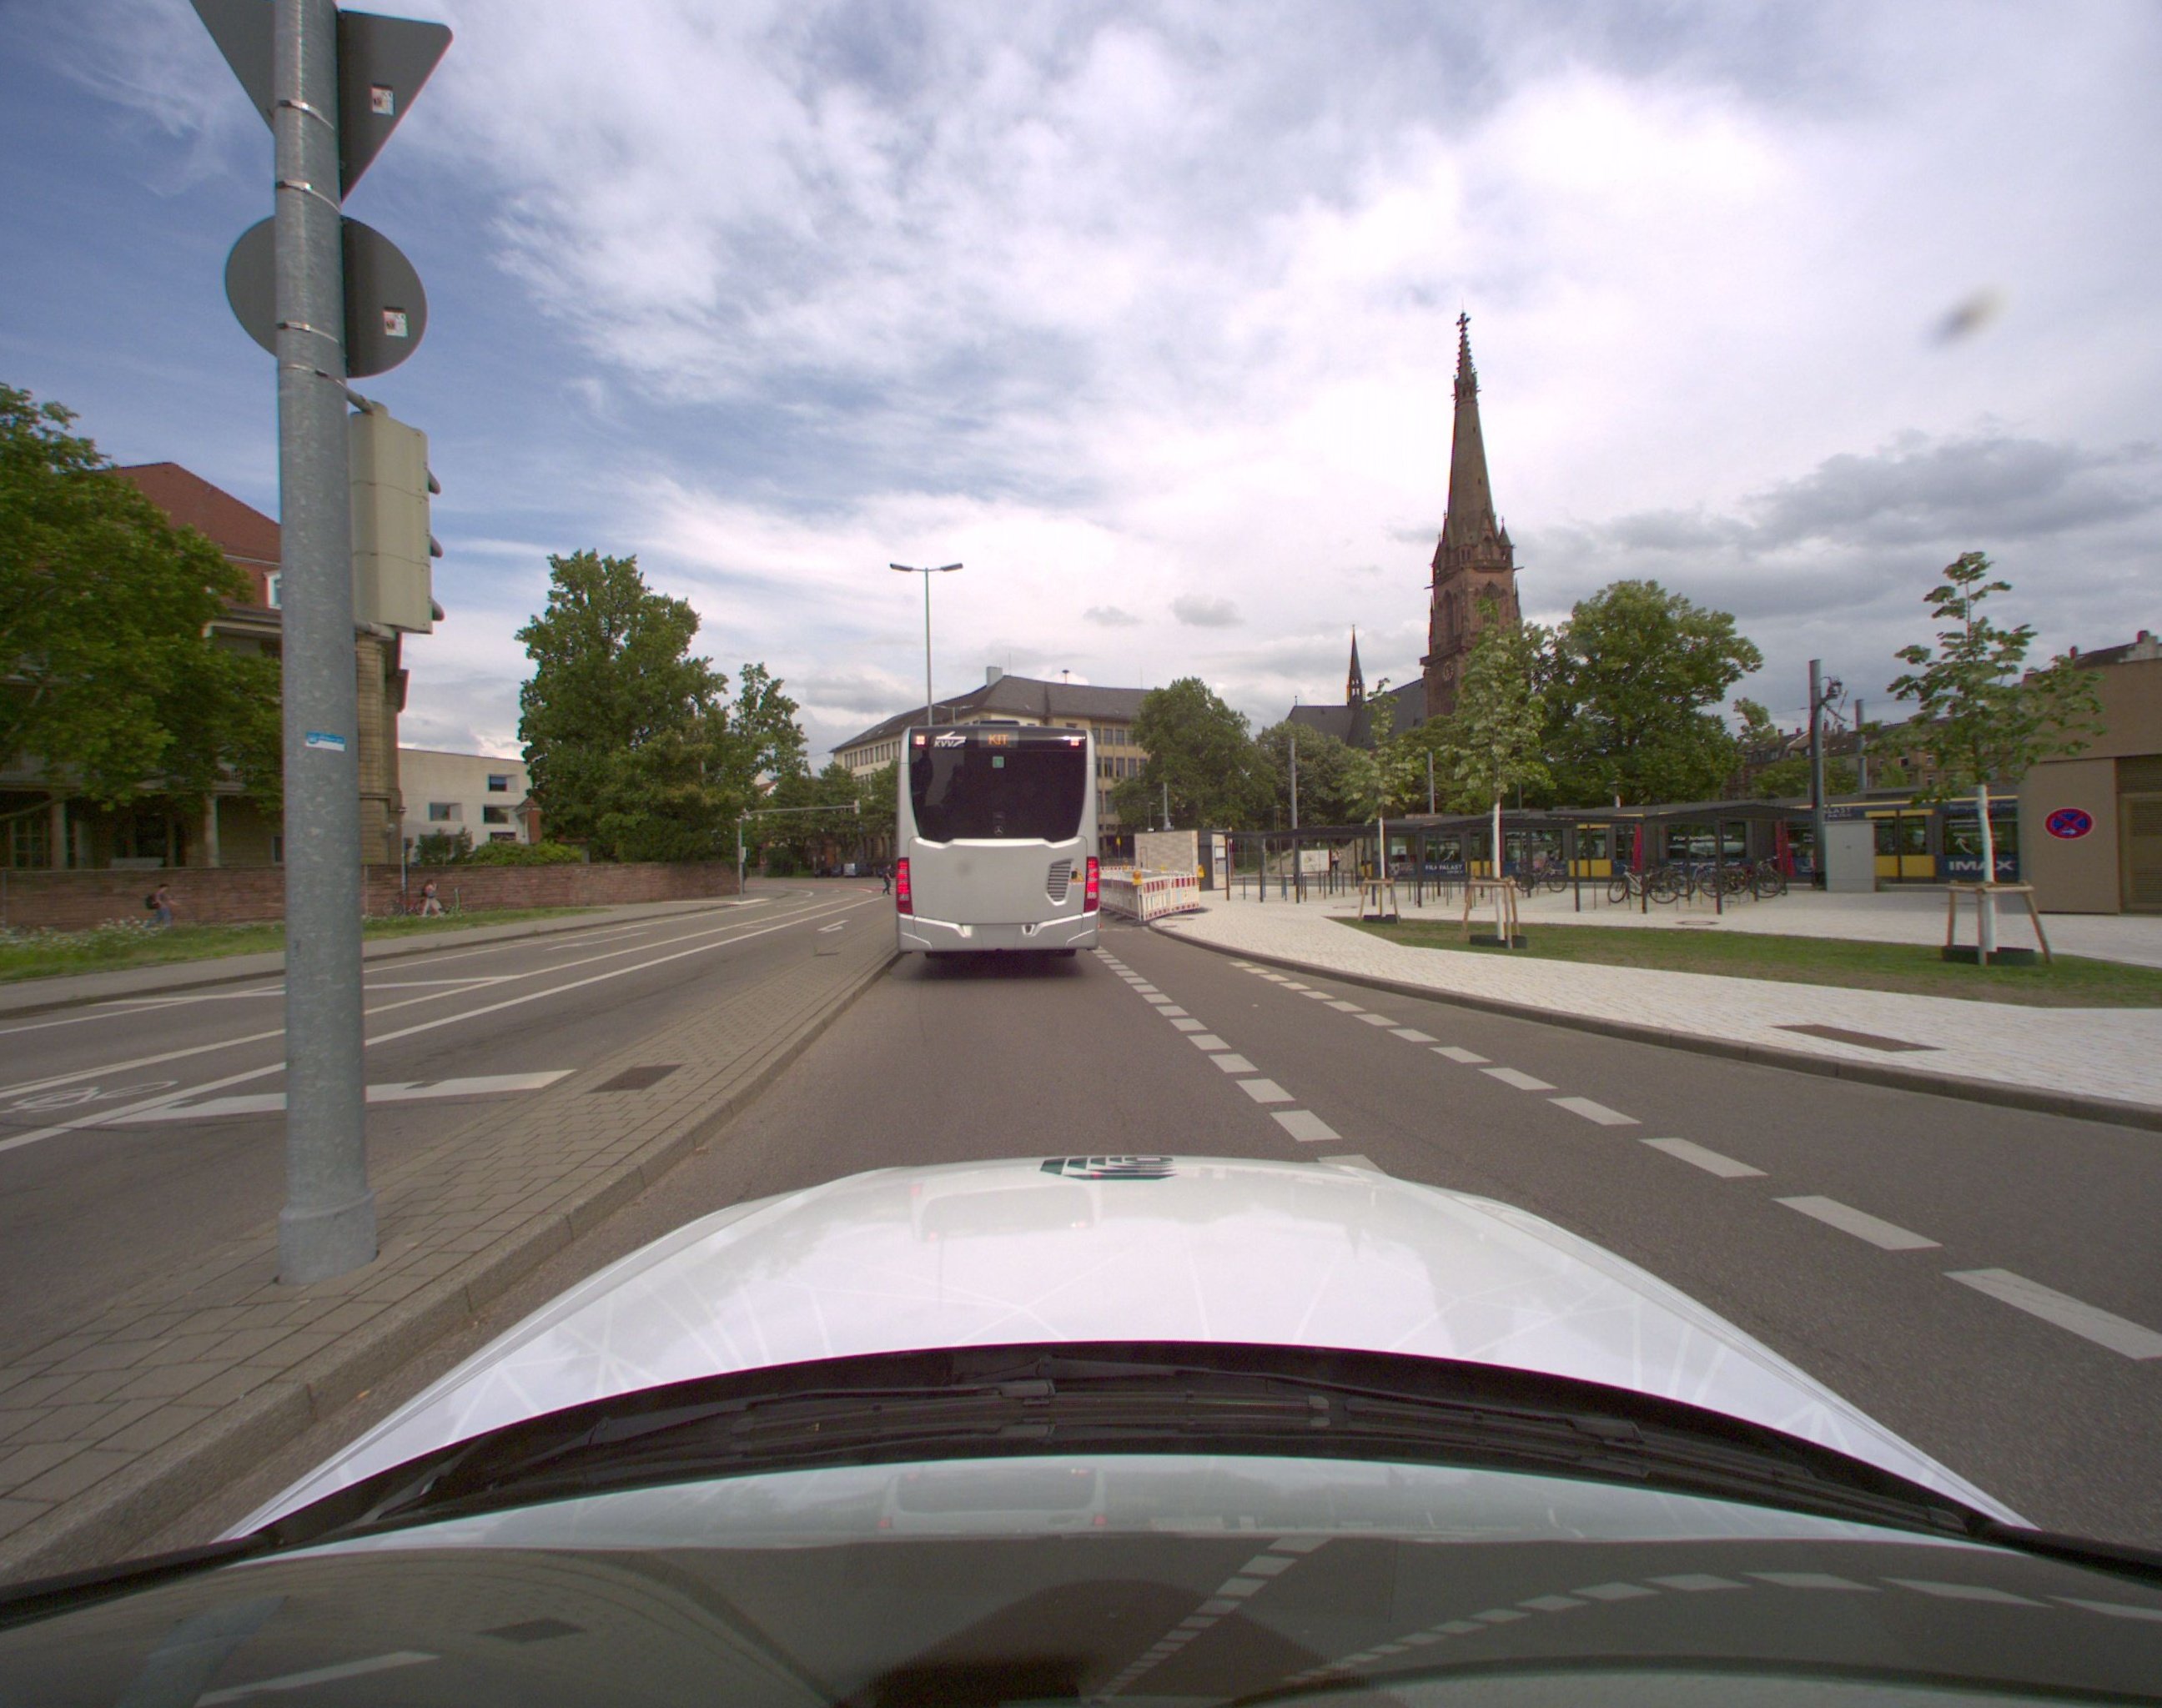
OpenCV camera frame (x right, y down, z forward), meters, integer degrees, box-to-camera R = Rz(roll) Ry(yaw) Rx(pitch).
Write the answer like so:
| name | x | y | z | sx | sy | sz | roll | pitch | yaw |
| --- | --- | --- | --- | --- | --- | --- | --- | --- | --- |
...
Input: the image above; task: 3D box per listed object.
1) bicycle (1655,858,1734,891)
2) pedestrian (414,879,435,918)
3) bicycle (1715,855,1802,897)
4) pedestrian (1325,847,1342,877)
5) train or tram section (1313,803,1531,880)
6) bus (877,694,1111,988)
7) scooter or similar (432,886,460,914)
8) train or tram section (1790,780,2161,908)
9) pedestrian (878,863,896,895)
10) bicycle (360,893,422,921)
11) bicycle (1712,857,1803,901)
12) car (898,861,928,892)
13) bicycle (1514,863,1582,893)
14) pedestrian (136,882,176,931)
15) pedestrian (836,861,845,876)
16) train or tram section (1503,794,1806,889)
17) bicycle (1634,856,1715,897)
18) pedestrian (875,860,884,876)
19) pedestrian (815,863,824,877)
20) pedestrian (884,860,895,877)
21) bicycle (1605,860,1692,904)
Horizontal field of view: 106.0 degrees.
| name | x | y | z | sx | sy | sz | roll | pitch | yaw |
| --- | --- | --- | --- | --- | --- | --- | --- | --- | --- |
| bicycle | 19.684 | 0.653 | 26.159 | 0.587 | 0.970 | 1.942 | -3 | 3 | -44 |
| pedestrian | -28.579 | 1.931 | 35.447 | 0.633 | 1.654 | 0.525 | -3 | 2 | -43 |
| bicycle | 20.020 | 0.624 | 24.107 | 1.941 | 1.156 | 0.588 | 0 | 2 | 40 |
| pedestrian | 15.535 | 0.510 | 50.091 | 0.817 | 1.800 | 0.753 | -1 | 2 | 5 |
| train or tram section | 16.093 | -0.656 | 39.181 | 3.079 | 3.276 | 9.259 | -3 | 2 | -41 |
| bus | -1.800 | -0.046 | 16.730 | 2.702 | 3.438 | 14.150 | -1 | -1 | -6 |
| scooter or similar | -28.524 | 2.050 | 36.601 | 0.520 | 1.139 | 1.510 | -2 | 2 | -19 |
| train or tram section | 28.433 | -0.354 | 24.931 | 3.079 | 3.449 | 9.813 | -3 | 2 | -41 |
| pedestrian | -10.947 | 1.417 | 45.998 | 0.795 | 1.710 | 0.839 | -1 | 2 | -1 |
| bicycle | -29.804 | 2.275 | 35.183 | 0.769 | 1.005 | 1.938 | 0 | 2 | 42 |
| bicycle | 19.065 | 0.681 | 22.996 | 1.941 | 1.156 | 0.588 | 0 | 2 | 40 |
| car | -12.402 | 1.619 | 59.993 | 1.996 | 2.013 | 3.983 | -2 | 2 | -13 |
| bicycle | 16.142 | 0.810 | 28.169 | 0.587 | 0.955 | 1.942 | -3 | 3 | -44 |
| pedestrian | -33.310 | 1.880 | 29.332 | 0.570 | 1.654 | 0.787 | 0 | 2 | 27 |
| pedestrian | -33.044 | 2.021 | 111.965 | 0.893 | 2.013 | 0.999 | -1 | 0 | -32 |
| train or tram section | 22.140 | -0.527 | 32.093 | 3.079 | 3.212 | 9.319 | -3 | 2 | -41 |
| bicycle | 17.856 | 0.651 | 24.519 | 1.941 | 1.156 | 0.588 | 0 | 2 | 40 |
| pedestrian | -25.285 | 1.770 | 102.210 | 0.893 | 2.013 | 0.999 | -1 | 0 | -32 |
| pedestrian | -37.343 | 2.322 | 116.325 | 0.893 | 2.013 | 0.999 | -1 | 0 | -32 |
| pedestrian | -23.431 | 1.773 | 99.651 | 0.893 | 2.013 | 0.999 | -1 | 0 | -32 |
| bicycle | 15.765 | 0.756 | 22.655 | 1.941 | 1.156 | 0.588 | 0 | 2 | 40 |
